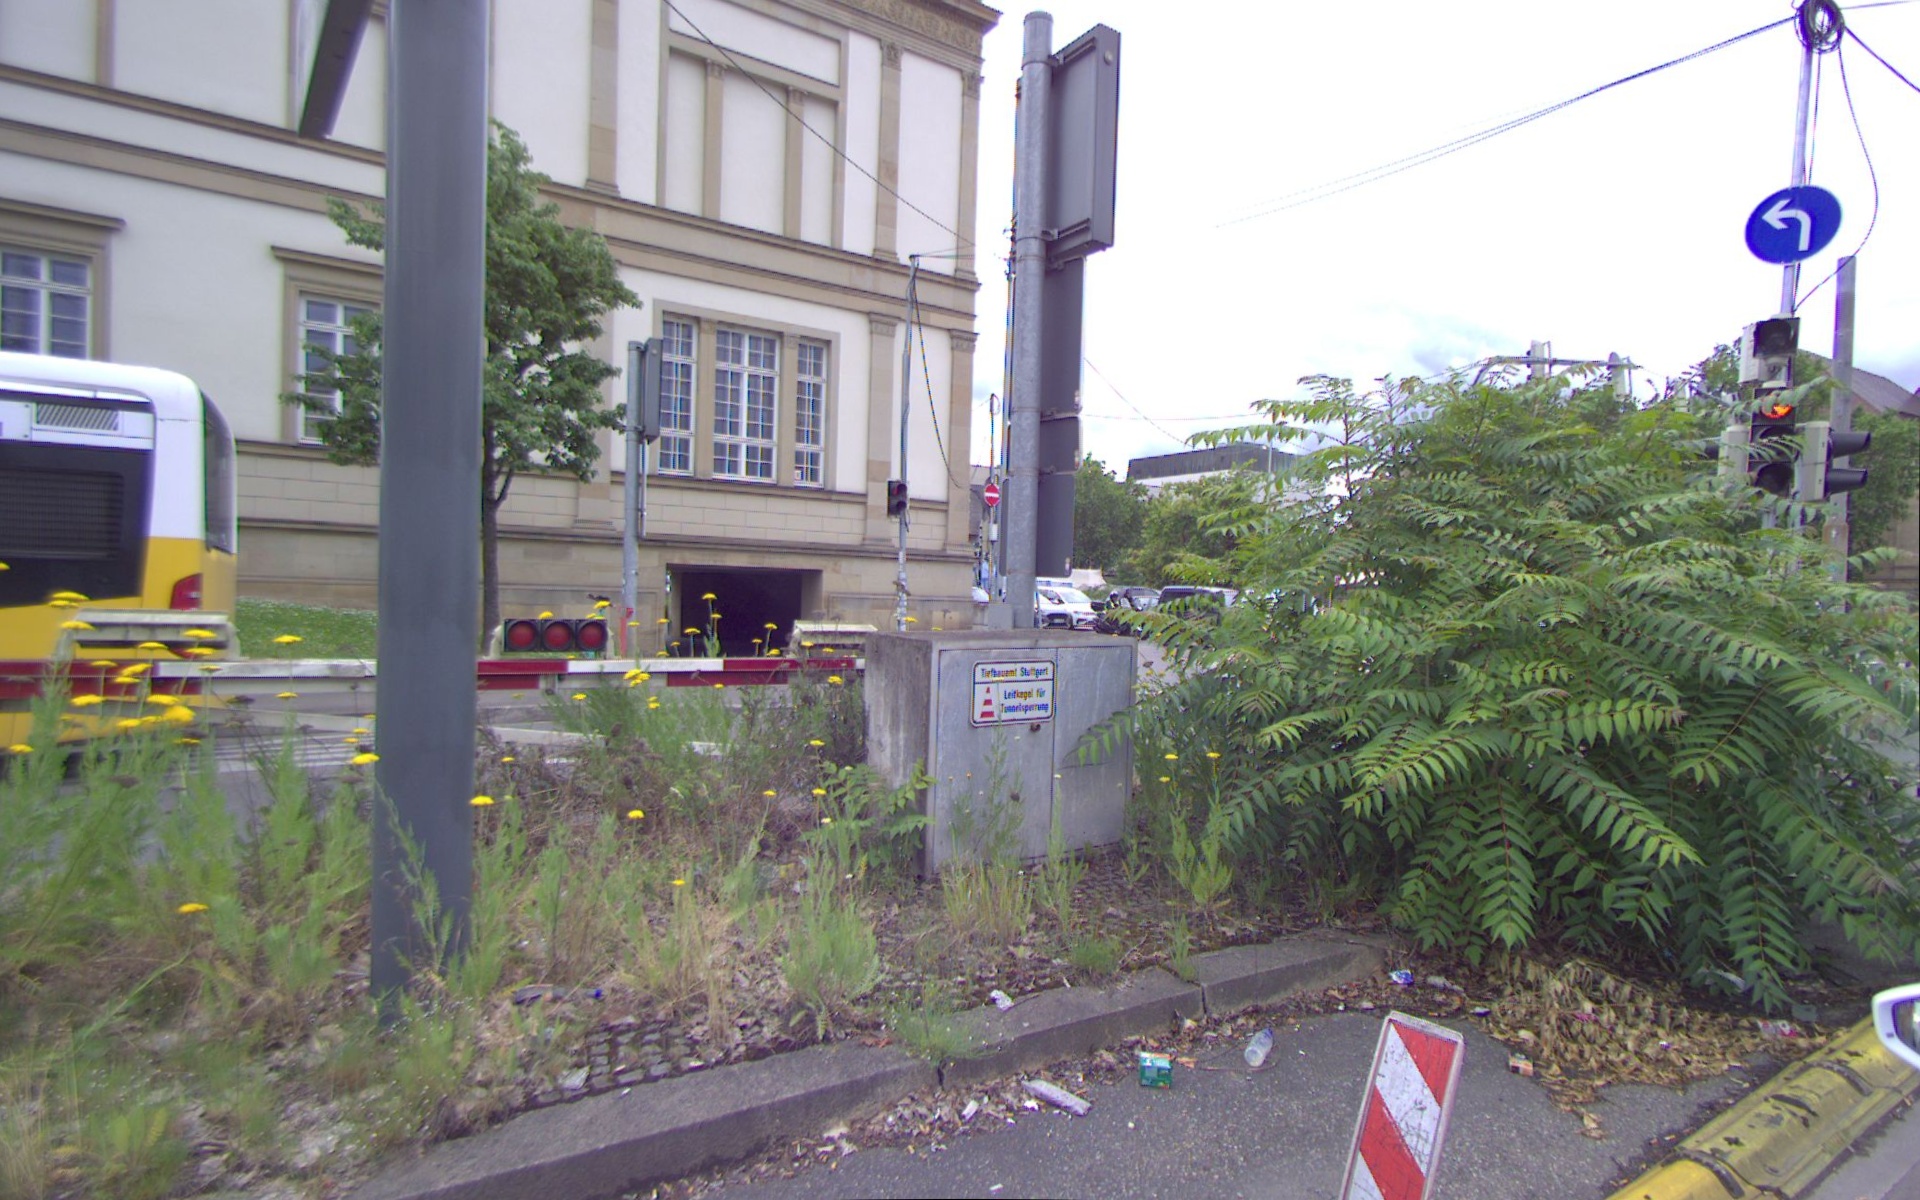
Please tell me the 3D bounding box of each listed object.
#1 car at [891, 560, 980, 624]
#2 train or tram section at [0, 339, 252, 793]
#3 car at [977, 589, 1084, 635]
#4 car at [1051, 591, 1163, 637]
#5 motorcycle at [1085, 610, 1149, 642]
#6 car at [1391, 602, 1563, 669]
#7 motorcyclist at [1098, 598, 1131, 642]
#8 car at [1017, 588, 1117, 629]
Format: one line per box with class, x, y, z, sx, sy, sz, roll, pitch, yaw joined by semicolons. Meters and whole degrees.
car;-1.123;-0.337;43.731;1.978;2.585;4.083;2;0;-32
train or tram section;-10.201;-0.281;6.244;9.229;3.112;2.680;1;-1;-31
car;2.575;0.429;37.619;1.978;1.568;4.083;2;0;-32
car;5.466;0.498;37.847;1.978;1.568;4.084;2;0;-32
motorcycle;5.082;0.837;32.663;0.690;0.953;2.335;2;0;-32
car;16.432;1.086;32.083;1.987;1.783;4.445;2;1;-44
motorcyclist;5.021;0.651;32.753;0.690;1.398;0.784;2;0;-33
car;4.288;0.316;40.881;1.978;1.568;4.085;2;0;-32
